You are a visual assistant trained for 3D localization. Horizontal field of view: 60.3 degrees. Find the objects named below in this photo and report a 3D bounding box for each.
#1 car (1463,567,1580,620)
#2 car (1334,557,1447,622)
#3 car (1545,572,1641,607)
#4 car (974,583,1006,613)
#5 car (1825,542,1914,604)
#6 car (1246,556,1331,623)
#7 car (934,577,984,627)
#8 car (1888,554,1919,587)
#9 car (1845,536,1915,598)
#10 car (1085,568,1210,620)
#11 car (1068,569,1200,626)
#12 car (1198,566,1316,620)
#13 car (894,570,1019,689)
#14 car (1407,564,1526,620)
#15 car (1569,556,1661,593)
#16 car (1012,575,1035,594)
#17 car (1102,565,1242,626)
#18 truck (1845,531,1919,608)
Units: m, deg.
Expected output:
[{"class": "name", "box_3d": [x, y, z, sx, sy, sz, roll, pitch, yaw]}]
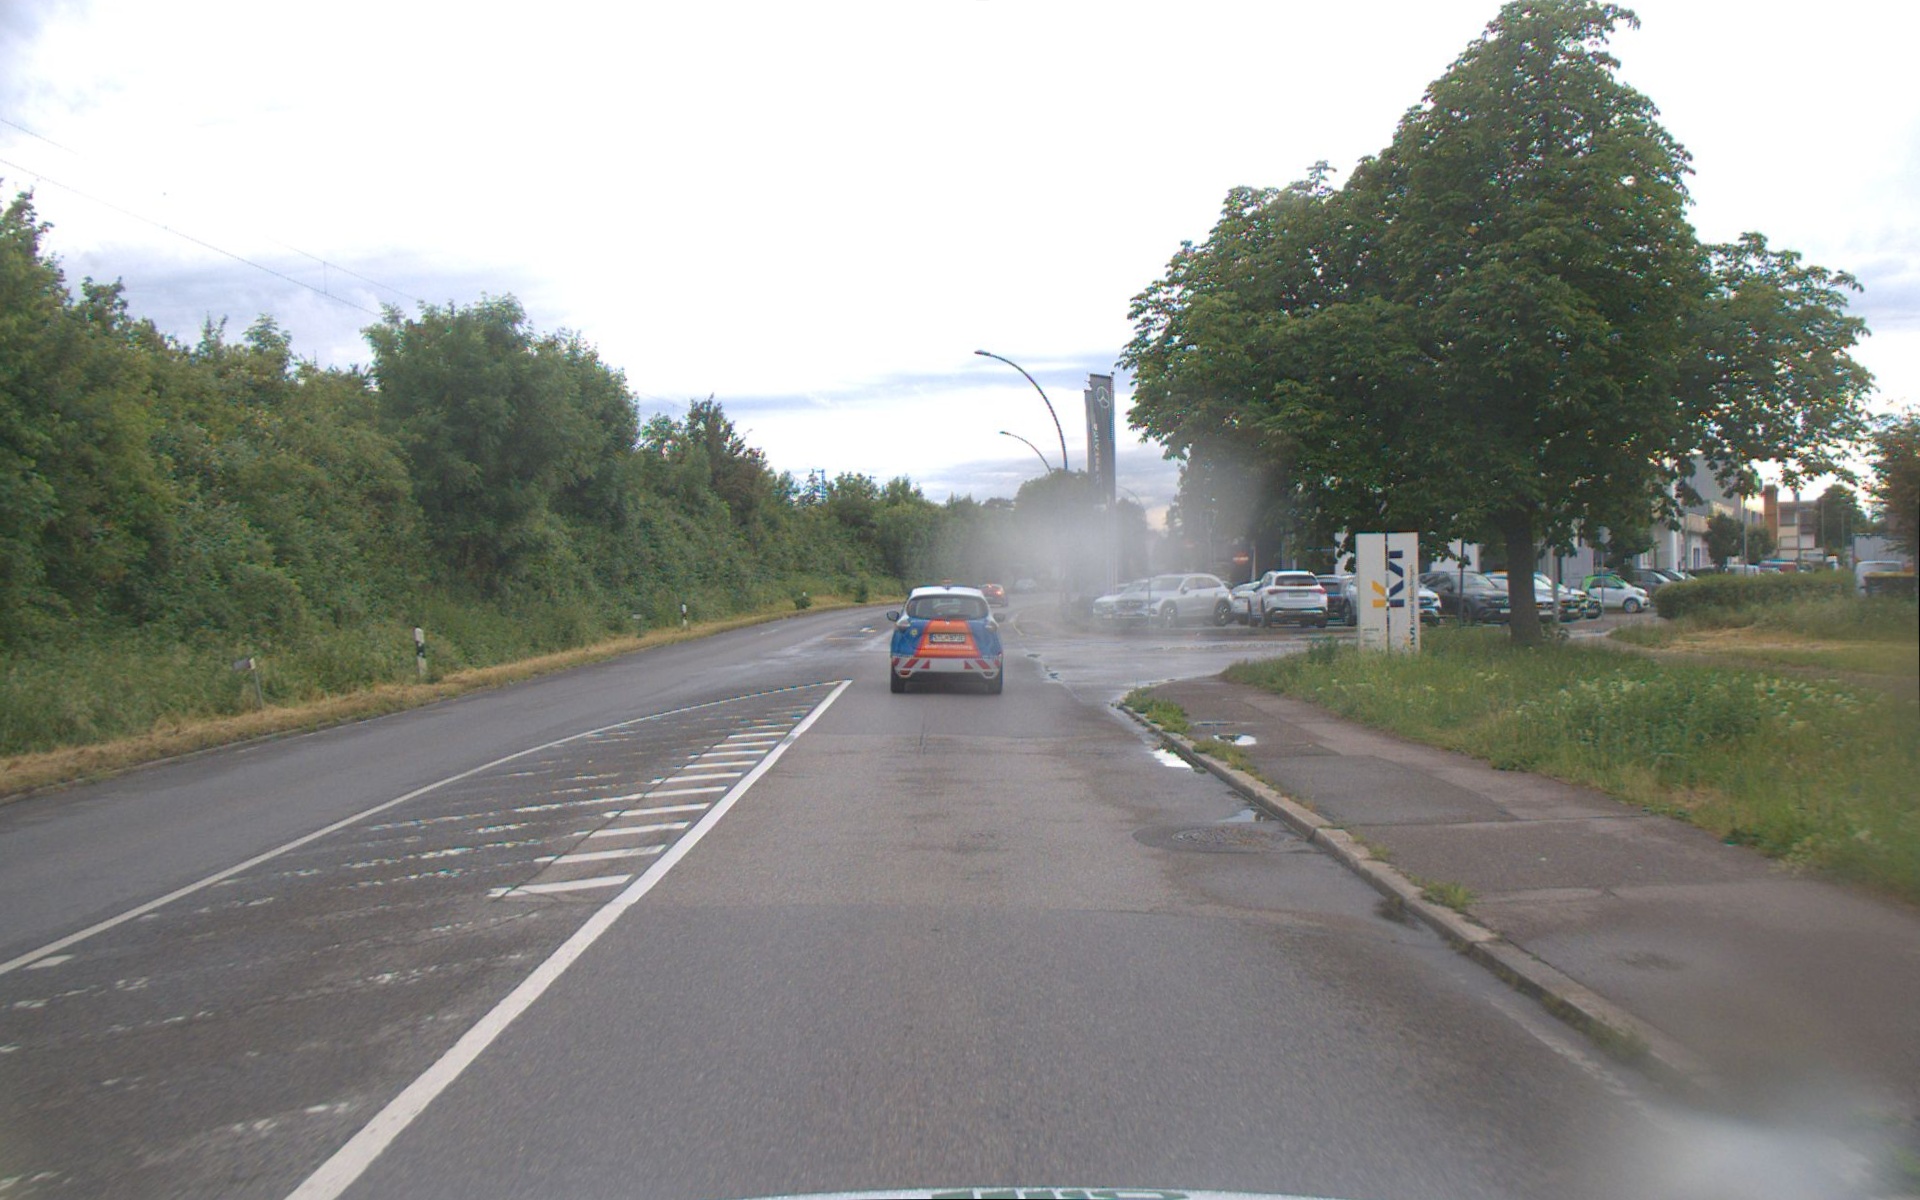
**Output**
[{"class": "car", "box_3d": [18.148, -0.202, 53.692, 1.620, 1.631, 4.608, 1, 0, -9]}, {"class": "car", "box_3d": [12.616, -0.281, 48.758, 1.897, 1.782, 4.616, 1, 0, -3]}, {"class": "car", "box_3d": [26.316, -0.439, 68.763, 3.584, 1.400, 1.653, 1, 0, 28]}, {"class": "car", "box_3d": [1.934, -0.105, 104.561, 1.658, 1.822, 3.858, 1, 0, 6]}, {"class": "car", "box_3d": [31.465, -0.915, 57.319, 1.738, 2.069, 4.294, 1, 0, 16]}, {"class": "car", "box_3d": [9.729, -0.281, 49.292, 1.788, 1.861, 4.265, 1, 0, 2]}, {"class": "car", "box_3d": [-0.017, 0.075, 57.460, 1.659, 1.623, 3.856, 1, 0, 1]}, {"class": "car", "box_3d": [62.180, -1.924, 108.395, 1.887, 2.077, 4.275, -1, 0, 36]}, {"class": "car", "box_3d": [35.728, -1.253, 64.195, 1.887, 2.290, 4.275, -1, 0, 36]}, {"class": "car", "box_3d": [6.801, -0.183, 59.665, 4.571, 1.782, 1.783, 1, -2, -38]}, {"class": "car", "box_3d": [5.839, -0.031, 55.281, 2.001, 1.782, 4.585, -2, -2, 44]}, {"class": "car", "box_3d": [10.213, -0.258, 56.661, 1.897, 1.781, 4.591, 1, 1, 41]}, {"class": "car", "box_3d": [-0.074, 0.435, 25.899, 1.769, 1.697, 3.855, 1, 0, -1]}, {"class": "car", "box_3d": [15.583, -0.233, 51.132, 1.620, 1.631, 4.608, 1, 0, -9]}, {"class": "car", "box_3d": [28.436, -1.125, 71.802, 3.582, 1.522, 1.654, 1, 0, 26]}, {"class": "car", "box_3d": [6.344, -1.546, 165.695, 1.658, 1.822, 3.859, 1, 0, 12]}, {"class": "car", "box_3d": [6.691, -0.131, 51.897, 2.001, 1.782, 4.585, 1, -1, 44]}, {"class": "truck", "box_3d": [40.000, -1.243, 71.095, 2.439, 3.047, 6.893, 1, -1, 37]}]
